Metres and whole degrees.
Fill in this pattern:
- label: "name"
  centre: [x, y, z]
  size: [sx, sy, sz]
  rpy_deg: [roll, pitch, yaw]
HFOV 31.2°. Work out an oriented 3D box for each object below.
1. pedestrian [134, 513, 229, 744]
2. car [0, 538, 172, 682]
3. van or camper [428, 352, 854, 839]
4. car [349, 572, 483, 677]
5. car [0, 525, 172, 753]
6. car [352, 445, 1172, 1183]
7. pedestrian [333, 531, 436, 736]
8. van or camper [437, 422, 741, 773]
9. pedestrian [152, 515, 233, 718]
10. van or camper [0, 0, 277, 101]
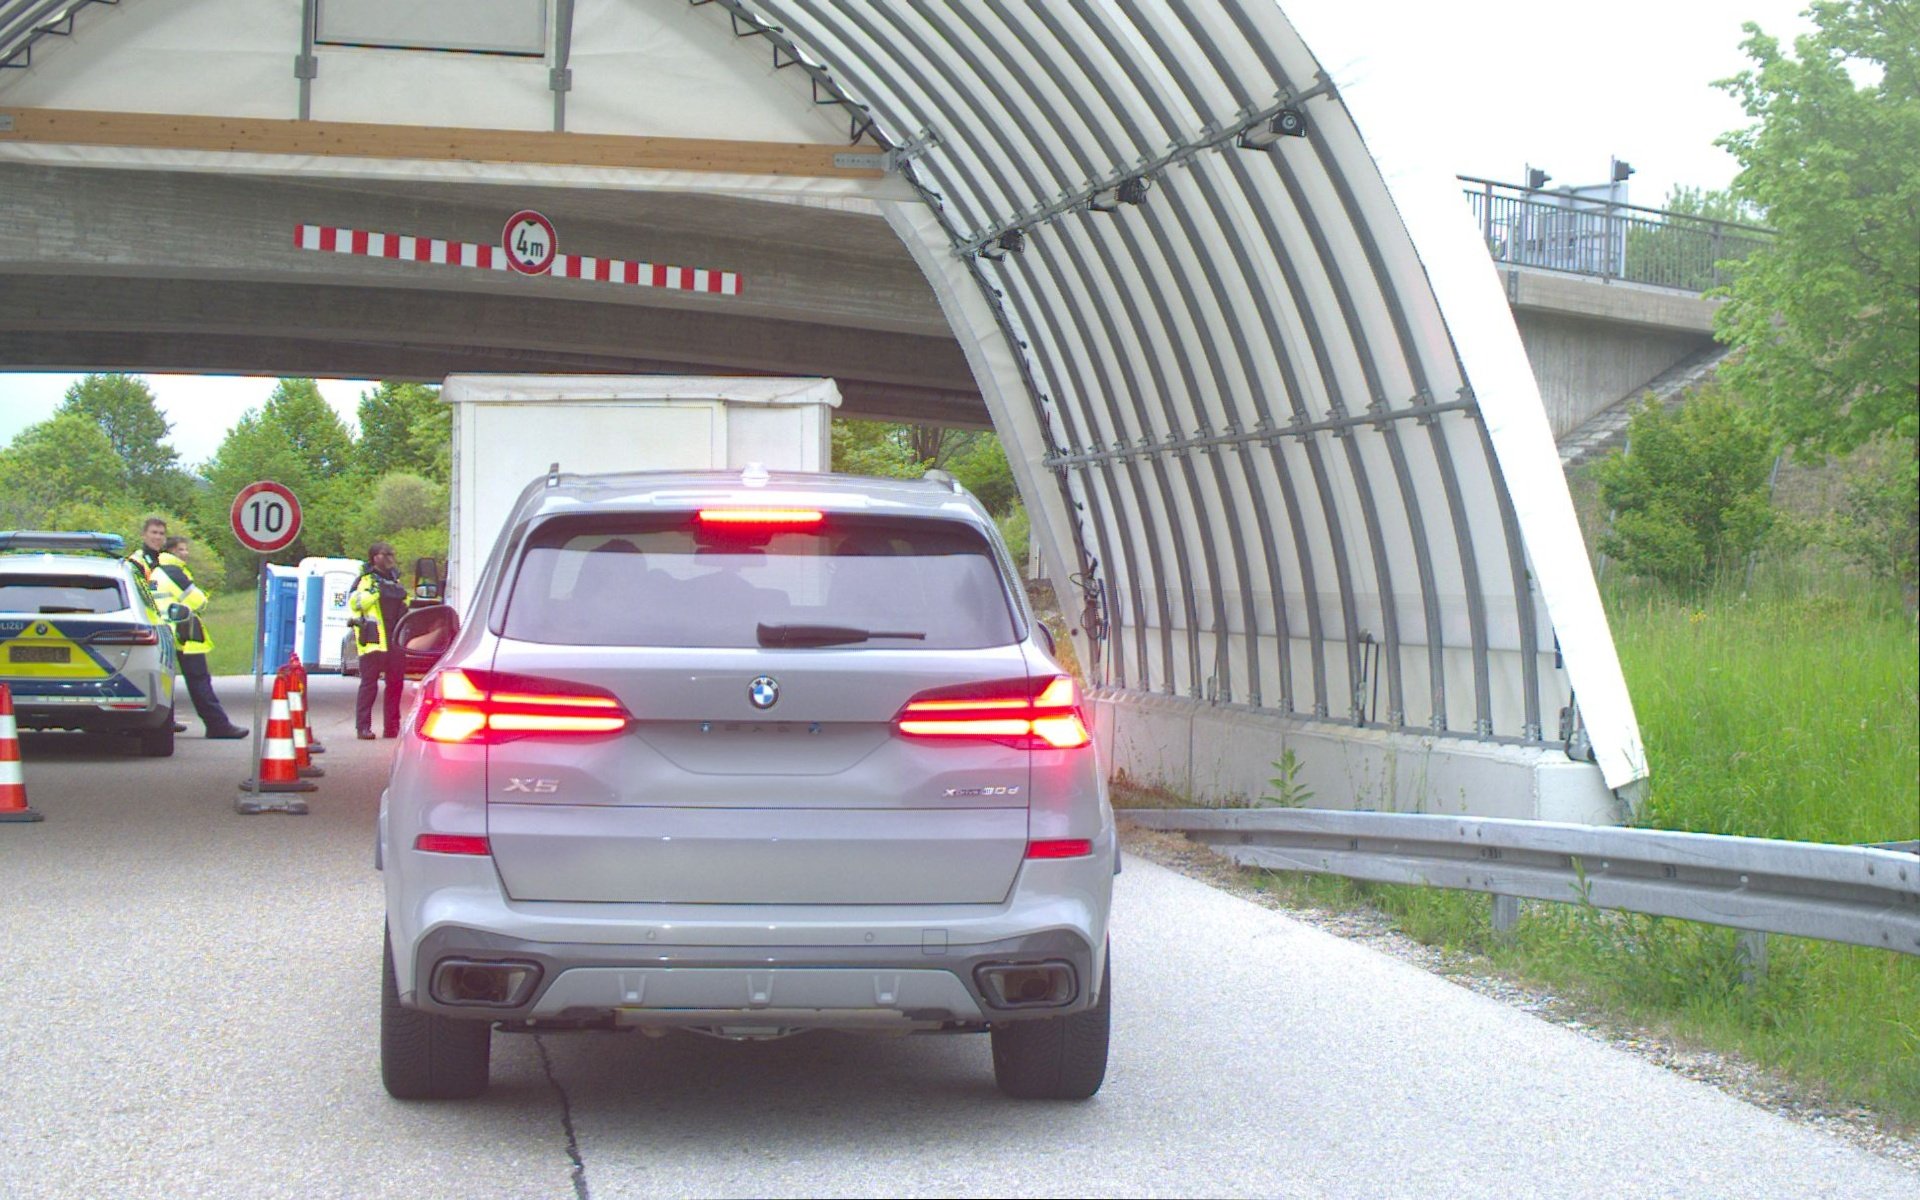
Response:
- label: "pedestrian"
  centre: [-6.554, 0.232, 28.927]
  size: [0.749, 1.912, 0.763]
  rpy_deg: [0, 0, -15]
- label: "car"
  centre: [-13.882, 0.132, 49.061]
  size: [4.807, 2.007, 1.840]
  rpy_deg: [0, 0, 7]
- label: "van or camper"
  centre: [-2.170, -0.051, 21.397]
  size: [2.229, 2.543, 6.612]
  rpy_deg: [0, 0, -9]
- label: "car"
  centre: [-9.274, 0.384, 58.392]
  size: [1.993, 1.716, 3.897]
  rpy_deg: [0, 0, -13]
- label: "car"
  centre: [-7.157, 0.263, 26.742]
  size: [1.877, 1.641, 4.001]
  rpy_deg: [0, 0, -15]
- label: "car"
  centre: [-0.782, 0.491, 10.335]
  size: [1.993, 1.759, 4.001]
  rpy_deg: [0, 0, -9]
- label: "pedestrian"
  centre: [-4.890, 0.273, 29.204]
  size: [0.754, 1.716, 0.782]
  rpy_deg: [0, 0, -18]
- label: "van or camper"
  centre: [-3.078, -0.042, 27.473]
  size: [2.103, 2.510, 5.552]
  rpy_deg: [0, 0, -9]
- label: "pedestrian"
  centre: [-6.696, 0.141, 30.011]
  size: [0.609, 1.748, 0.666]
  rpy_deg: [0, 0, -6]
- label: "van or camper"
  centre: [-10.778, -6.988, 39.657]
  size: [5.436, 1.764, 1.896]
  rpy_deg: [0, 1, -39]
